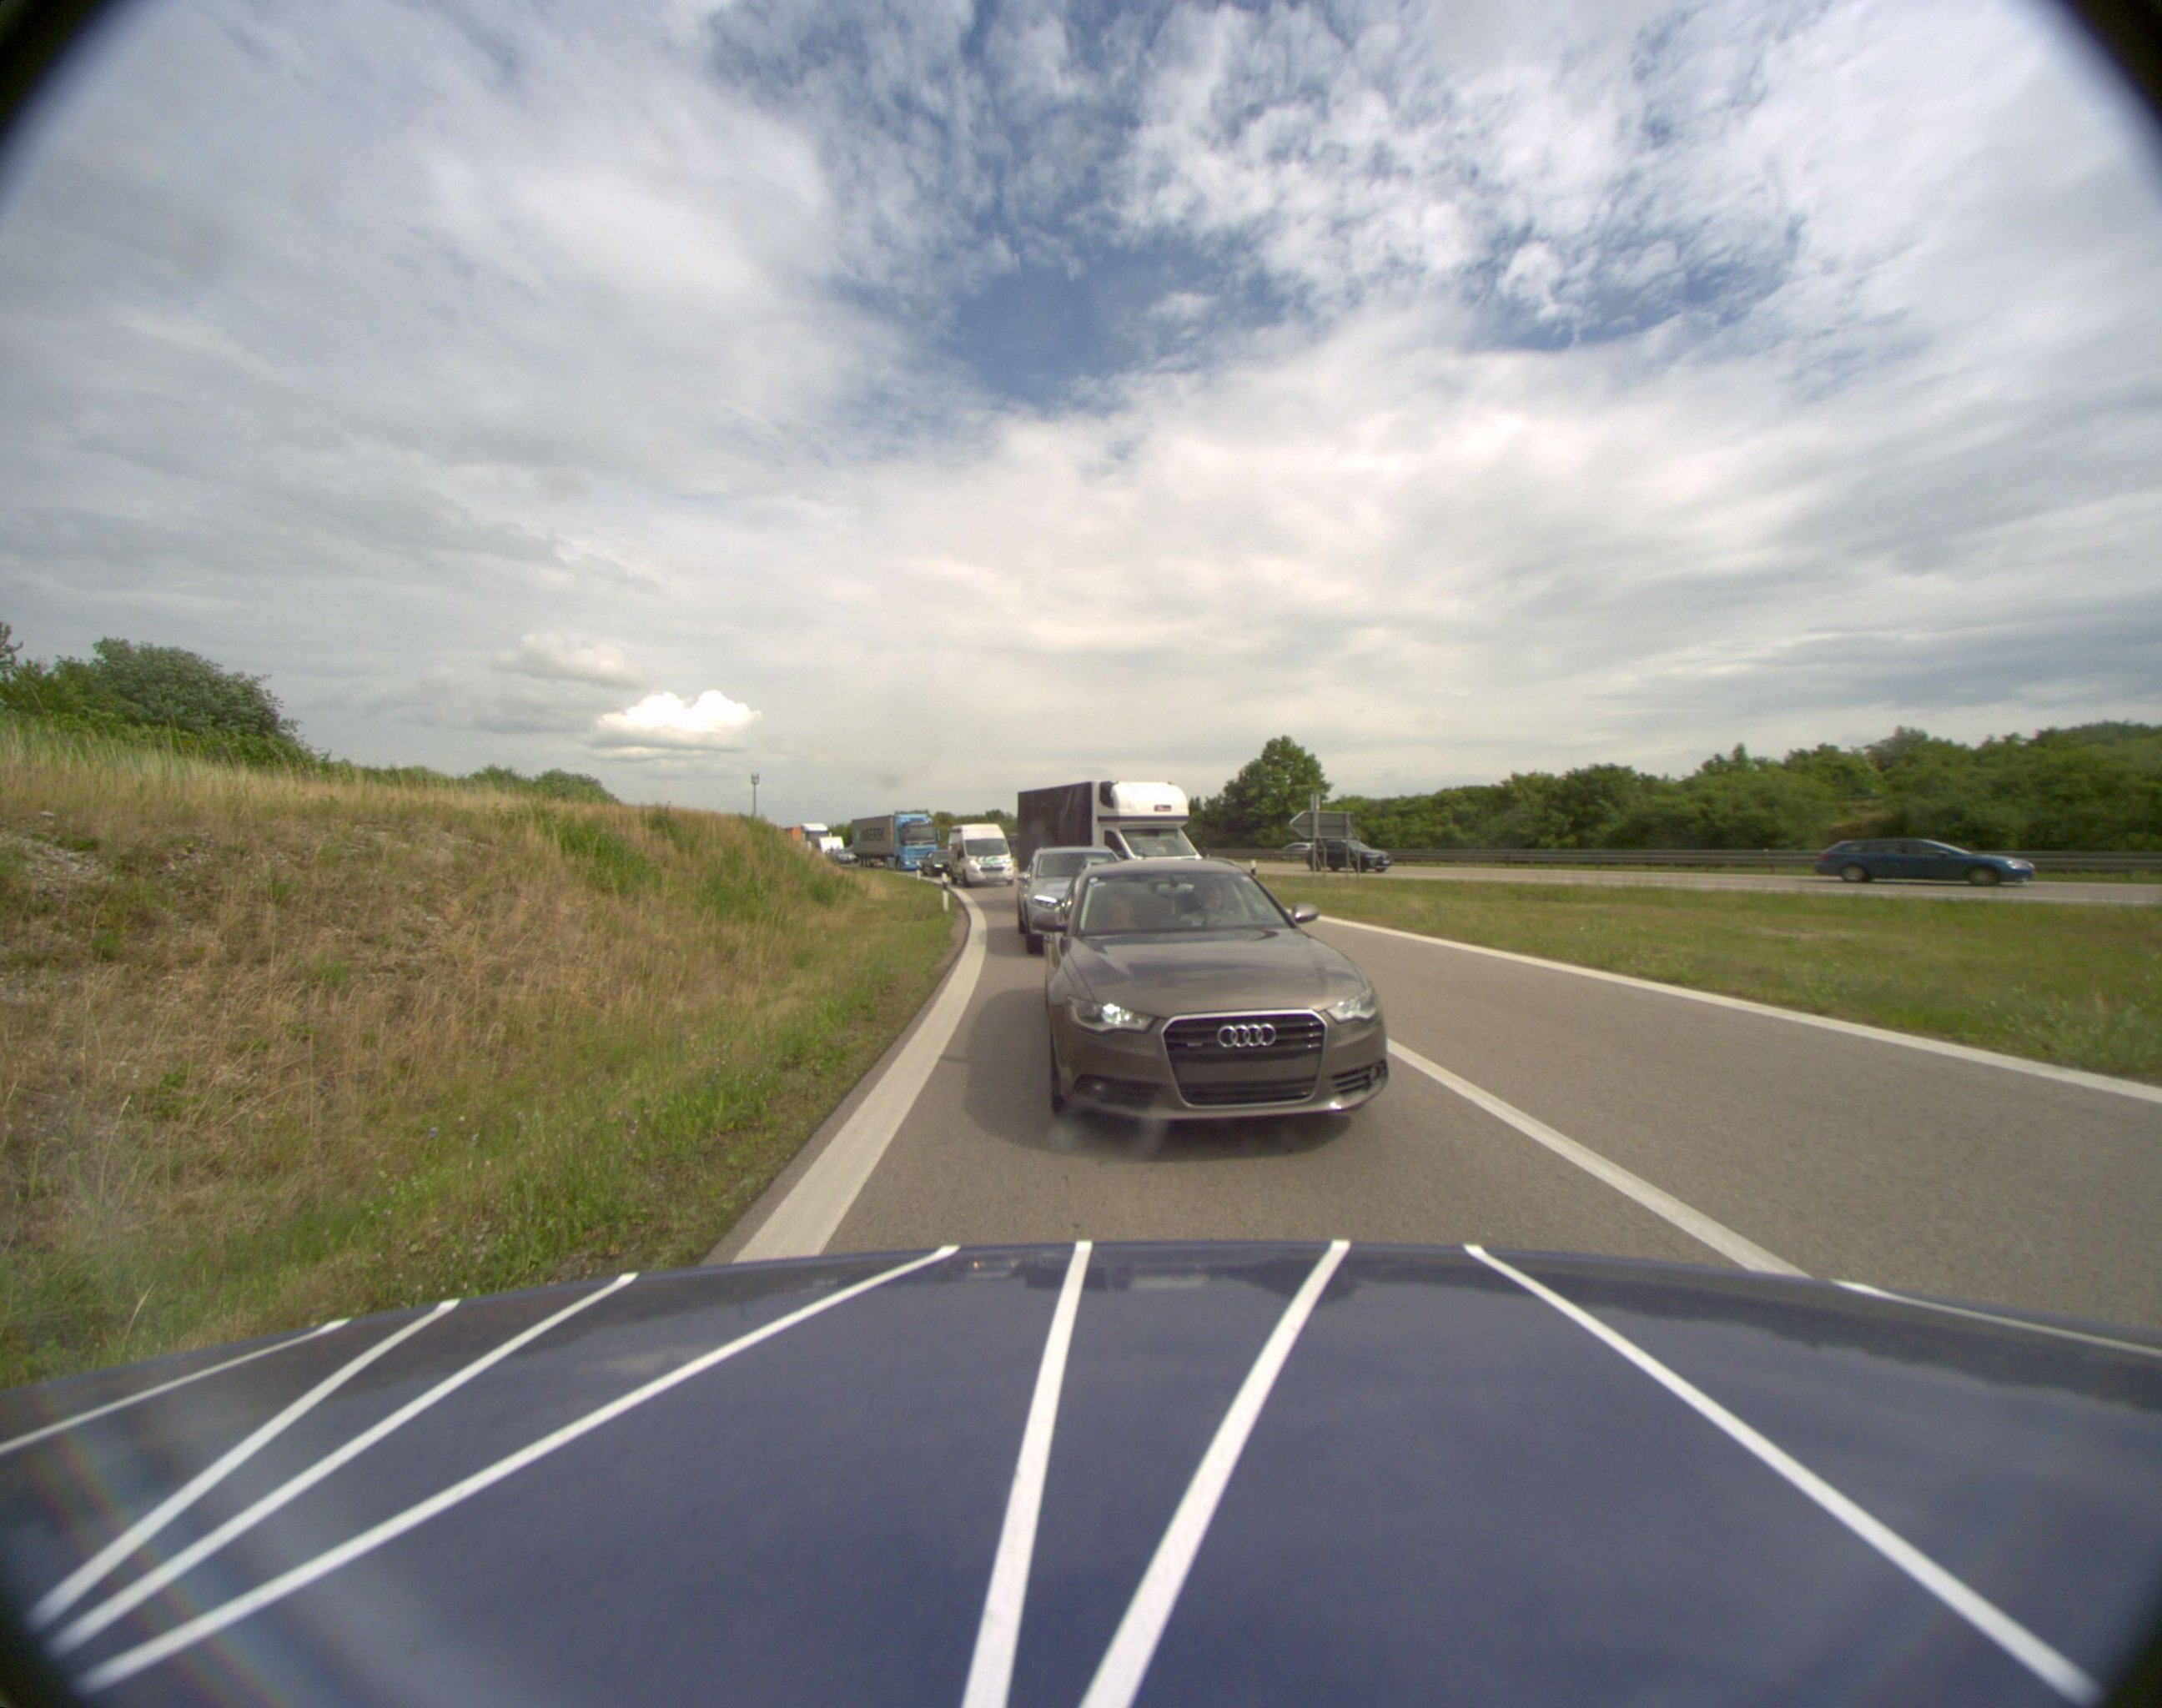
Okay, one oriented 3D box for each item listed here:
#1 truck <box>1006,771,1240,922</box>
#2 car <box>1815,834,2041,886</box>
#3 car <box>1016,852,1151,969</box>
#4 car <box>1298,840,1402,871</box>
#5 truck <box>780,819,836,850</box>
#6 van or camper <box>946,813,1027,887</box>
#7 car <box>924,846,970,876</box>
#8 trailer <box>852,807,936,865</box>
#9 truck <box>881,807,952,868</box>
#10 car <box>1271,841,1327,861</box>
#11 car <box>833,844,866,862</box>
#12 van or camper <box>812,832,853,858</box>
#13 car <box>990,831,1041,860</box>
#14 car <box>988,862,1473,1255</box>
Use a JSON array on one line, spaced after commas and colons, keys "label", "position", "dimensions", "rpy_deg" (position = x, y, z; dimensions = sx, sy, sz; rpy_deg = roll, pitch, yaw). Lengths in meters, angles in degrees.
[{"label": "truck", "position": [0.668, -0.180, 19.751], "dimensions": [2.572, 3.149, 7.452], "rpy_deg": [-3, 1, -27]}, {"label": "car", "position": [26.277, 0.120, 23.748], "dimensions": [2.003, 1.415, 4.446], "rpy_deg": [-2, 2, -33]}, {"label": "car", "position": [-0.137, 0.785, 12.866], "dimensions": [1.843, 1.587, 4.171], "rpy_deg": [-1, 1, -6]}, {"label": "car", "position": [12.987, 0.024, 36.910], "dimensions": [2.003, 1.415, 4.446], "rpy_deg": [-2, 2, -33]}, {"label": "truck", "position": [-30.618, -2.072, 84.923], "dimensions": [3.131, 3.220, 11.131], "rpy_deg": [-2, 1, -34]}, {"label": "van or camper", "position": [-4.290, -0.166, 33.427], "dimensions": [2.401, 2.892, 5.711], "rpy_deg": [-3, 1, -18]}, {"label": "car", "position": [-7.839, 0.365, 44.262], "dimensions": [2.002, 1.609, 3.992], "rpy_deg": [-1, 1, -19]}, {"label": "trailer", "position": [-15.124, -1.288, 60.397], "dimensions": [3.280, 4.137, 11.989], "rpy_deg": [-3, 1, -29]}, {"label": "truck", "position": [-11.870, -1.114, 54.337], "dimensions": [3.184, 4.049, 6.632], "rpy_deg": [-3, 1, -27]}, {"label": "car", "position": [17.339, -0.290, 60.546], "dimensions": [1.816, 1.478, 3.989], "rpy_deg": [-2, 2, -35]}, {"label": "car", "position": [-21.331, -0.147, 69.957], "dimensions": [2.003, 1.521, 3.990], "rpy_deg": [-2, 2, -29]}, {"label": "van or camper", "position": [-24.564, -0.921, 75.078], "dimensions": [2.557, 2.200, 5.693], "rpy_deg": [-3, 5, -31]}, {"label": "car", "position": [-5.421, -0.683, 61.997], "dimensions": [2.003, 2.246, 4.795], "rpy_deg": [-2, 2, -34]}, {"label": "car", "position": [0.615, 0.881, 5.455], "dimensions": [1.999, 1.505, 4.537], "rpy_deg": [-2, 1, -1]}]
